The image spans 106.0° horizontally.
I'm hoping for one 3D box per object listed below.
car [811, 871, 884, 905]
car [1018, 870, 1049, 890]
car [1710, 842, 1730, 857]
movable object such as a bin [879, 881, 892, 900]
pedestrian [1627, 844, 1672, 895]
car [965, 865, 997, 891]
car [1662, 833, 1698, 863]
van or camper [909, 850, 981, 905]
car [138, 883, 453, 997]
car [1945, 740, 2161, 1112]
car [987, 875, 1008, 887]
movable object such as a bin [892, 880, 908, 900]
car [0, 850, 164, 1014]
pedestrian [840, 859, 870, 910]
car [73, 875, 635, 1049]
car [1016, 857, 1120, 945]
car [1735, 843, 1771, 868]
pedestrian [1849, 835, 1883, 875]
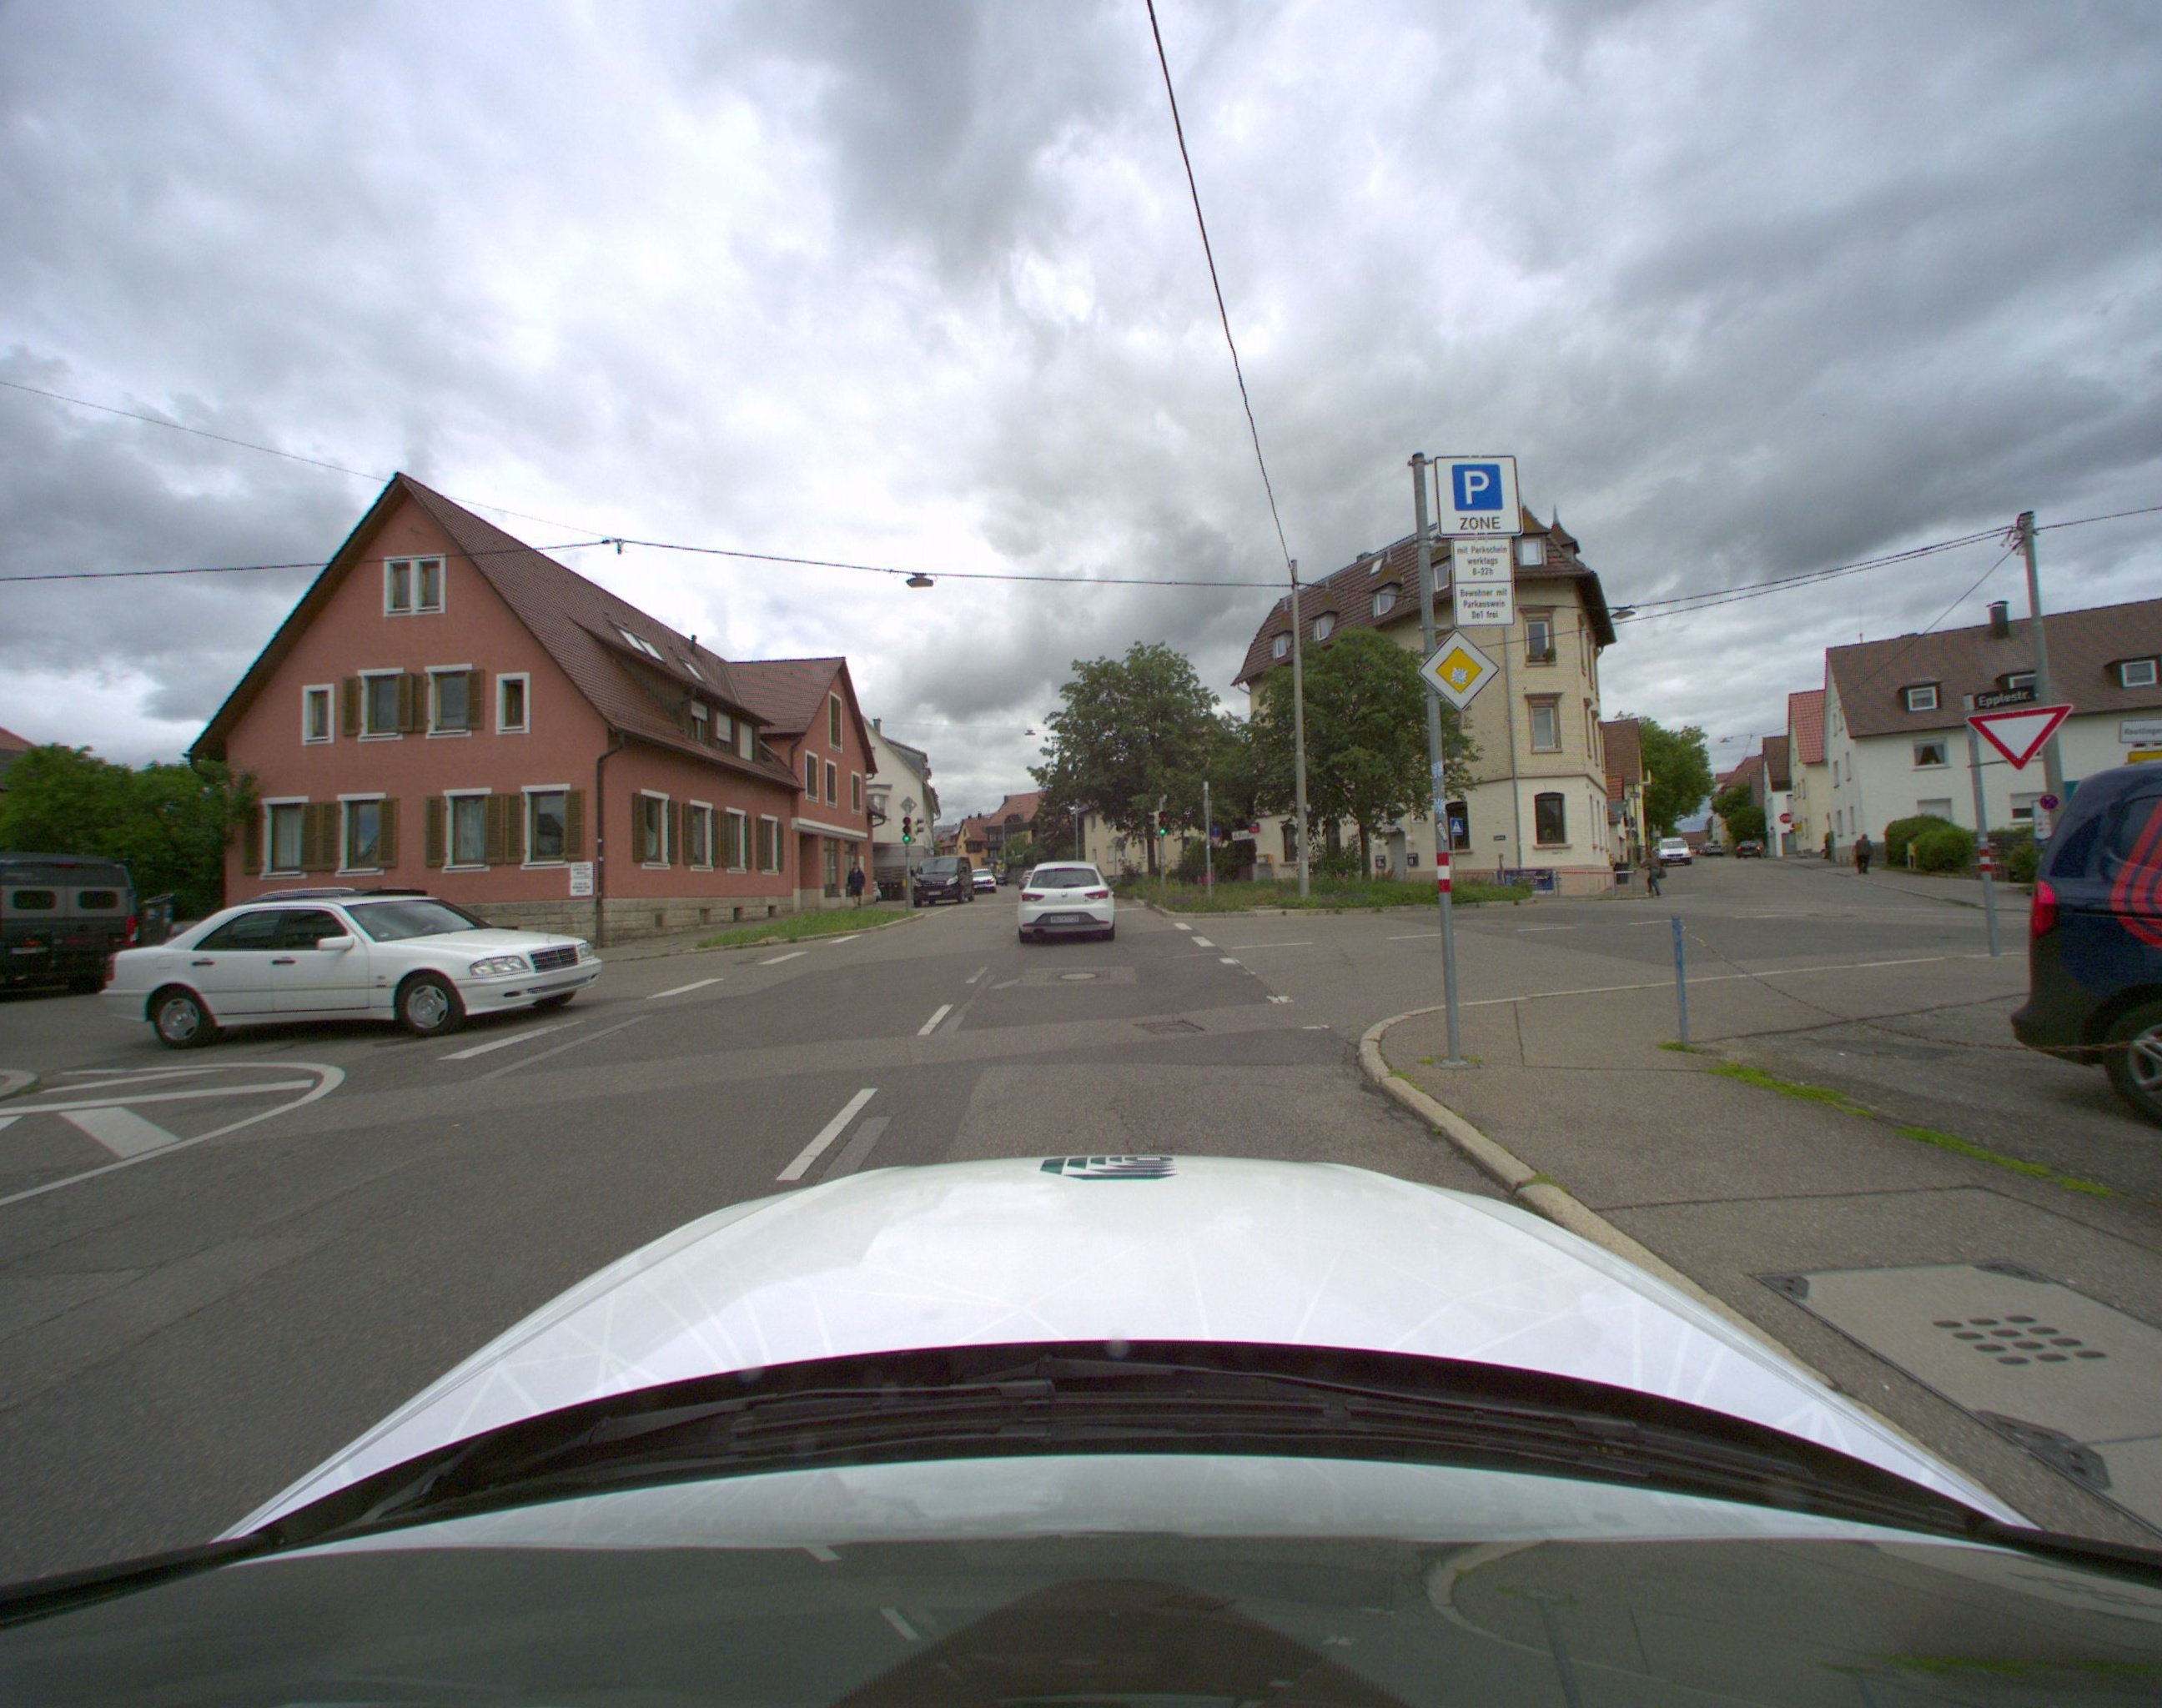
[{"bbox_3d":[-10.907,1.584,38.112,2.818,1.475,1.743,-2,-2,2],"label":"car"},{"bbox_3d":[-3.583,1.967,61.249,1.759,1.452,3.984,-1,-2,-11],"label":"car"},{"bbox_3d":[90.094,-0.577,114.796,1.974,2.014,4.025,0,-1,35],"label":"car"},{"bbox_3d":[-10.091,1.868,42.062,0.532,0.971,0.635,0,-1,0],"label":"movable object such as a bin"},{"bbox_3d":[20.020,0.543,28.687,1.015,1.733,0.860,0,-1,0],"label":"pedestrian"},{"bbox_3d":[-6.554,1.575,53.296,1.996,1.633,4.844,-1,-2,-8],"label":"car"},{"bbox_3d":[43.003,-0.389,58.516,1.974,2.014,4.025,0,-1,35],"label":"car"},{"bbox_3d":[-5.531,1.005,33.746,2.067,2.006,4.855,-4,-3,0],"label":"van or camper"},{"bbox_3d":[-13.639,1.463,14.259,4.023,1.590,1.807,-4,-2,8],"label":"car"},{"bbox_3d":[6.048,0.286,2.446,1.744,1.739,4.561,-3,0,-7],"label":"car"},{"bbox_3d":[-10.069,3.239,98.008,1.764,1.452,3.974,-1,-2,-19],"label":"car"},{"bbox_3d":[-9.365,1.861,42.162,0.664,1.018,0.794,-2,-1,-4],"label":"movable object such as a bin"},{"bbox_3d":[-20.512,1.311,15.107,4.907,2.775,2.276,0,-1,9],"label":"car"},{"bbox_3d":[-8.125,1.089,29.328,0.798,1.785,0.892,-1,-1,-1],"label":"pedestrian"},{"bbox_3d":[-7.772,1.111,9.014,4.531,1.445,2.003,-3,0,5],"label":"car"},{"bbox_3d":[-0.182,0.816,15.977,1.752,1.452,4.001,-1,0,1],"label":"car"},{"bbox_3d":[56.765,0.149,68.865,1.974,2.014,4.025,0,-1,35],"label":"car"},{"bbox_3d":[34.516,0.054,35.813,0.902,1.739,0.750,0,-1,26],"label":"pedestrian"}]
